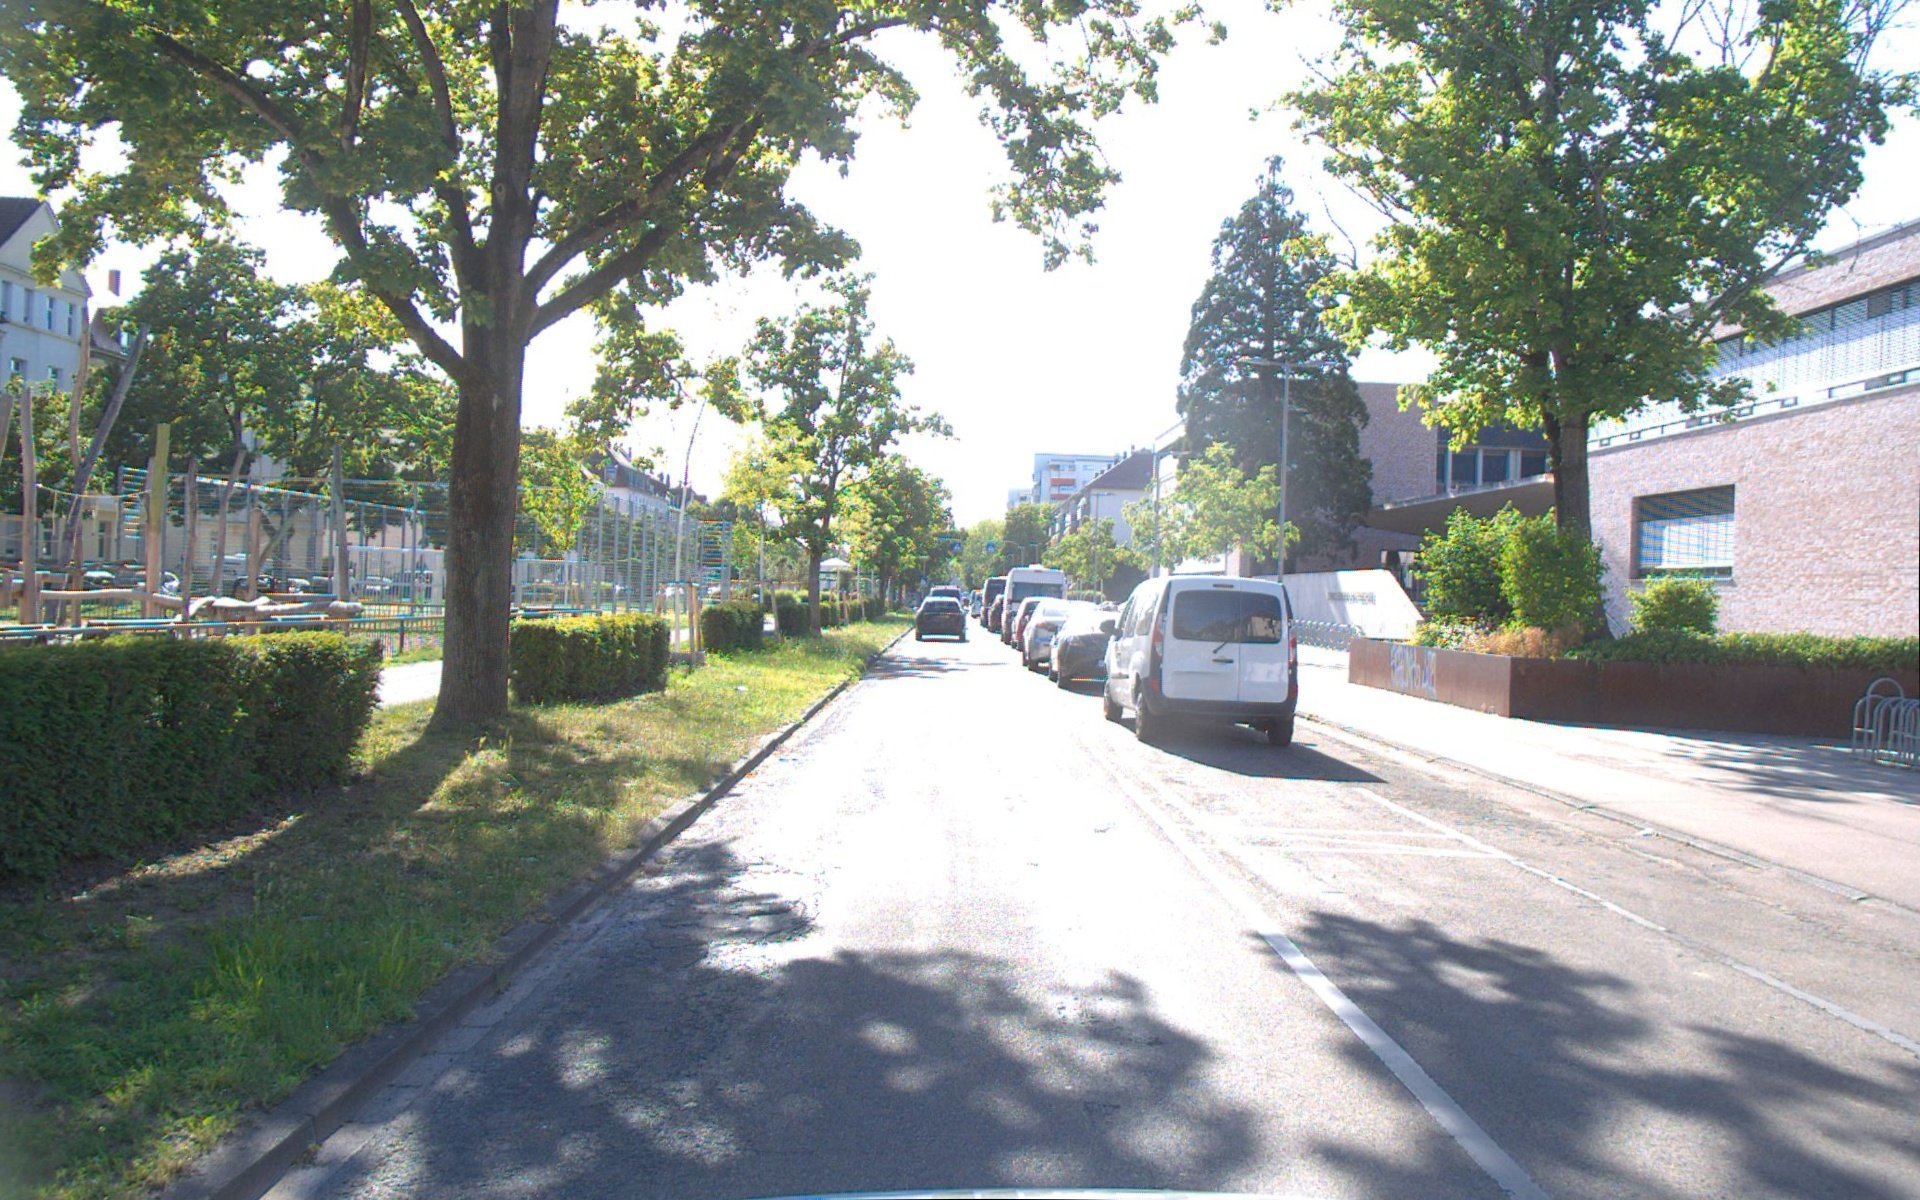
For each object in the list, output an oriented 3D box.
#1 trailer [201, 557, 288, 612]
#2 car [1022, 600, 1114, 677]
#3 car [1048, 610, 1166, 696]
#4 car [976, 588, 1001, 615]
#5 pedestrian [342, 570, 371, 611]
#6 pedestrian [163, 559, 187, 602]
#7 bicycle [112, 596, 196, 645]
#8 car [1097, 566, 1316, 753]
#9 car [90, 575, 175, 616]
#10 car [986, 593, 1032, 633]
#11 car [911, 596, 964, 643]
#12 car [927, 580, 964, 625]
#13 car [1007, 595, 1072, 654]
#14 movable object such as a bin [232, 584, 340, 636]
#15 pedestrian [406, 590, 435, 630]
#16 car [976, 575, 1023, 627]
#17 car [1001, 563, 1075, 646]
[{"bbox_3d":[-39.750,-0.865,92.086,2.295,2.920,5.801,2,0,-1],"label":"trailer"},{"bbox_3d":[2.295,0.798,36.113,1.667,1.504,4.173,2,0,0],"label":"car"},{"bbox_3d":[2.585,0.901,29.866,1.667,1.348,4.129,2,0,-1],"label":"car"},{"bbox_3d":[2.088,0.118,120.183,1.757,1.887,4.414,2,0,2],"label":"car"},{"bbox_3d":[-20.339,-0.309,55.728,0.636,1.341,0.649,2,0,29],"label":"pedestrian"},{"bbox_3d":[-30.755,-0.758,64.816,0.635,1.690,0.650,1,0,0],"label":"pedestrian"},{"bbox_3d":[-19.667,0.491,40.368,1.758,1.127,0.500,2,0,-2],"label":"bicycle"},{"bbox_3d":[2.826,0.623,19.930,1.771,1.941,4.460,2,0,-2],"label":"car"},{"bbox_3d":[-39.433,-0.218,78.951,1.757,1.808,4.488,2,0,0],"label":"car"},{"bbox_3d":[2.179,0.557,74.085,1.808,1.669,4.503,1,0,-1],"label":"car"},{"bbox_3d":[-0.750,0.673,58.107,1.757,1.536,4.000,2,0,0],"label":"car"},{"bbox_3d":[-0.702,0.119,83.096,1.757,2.159,4.000,1,0,0],"label":"car"},{"bbox_3d":[2.320,0.683,48.992,1.587,1.616,3.590,2,0,-3],"label":"car"},{"bbox_3d":[-16.999,0.239,41.749,2.285,1.263,1.055,1,0,-5],"label":"movable object such as a bin"},{"bbox_3d":[-18.295,0.331,56.048,0.636,1.341,0.649,2,0,29],"label":"pedestrian"},{"bbox_3d":[1.996,0.054,86.182,2.072,2.559,6.530,1,0,-2],"label":"car"},{"bbox_3d":[2.594,0.135,56.380,2.195,2.619,5.432,2,0,0],"label":"car"}]
